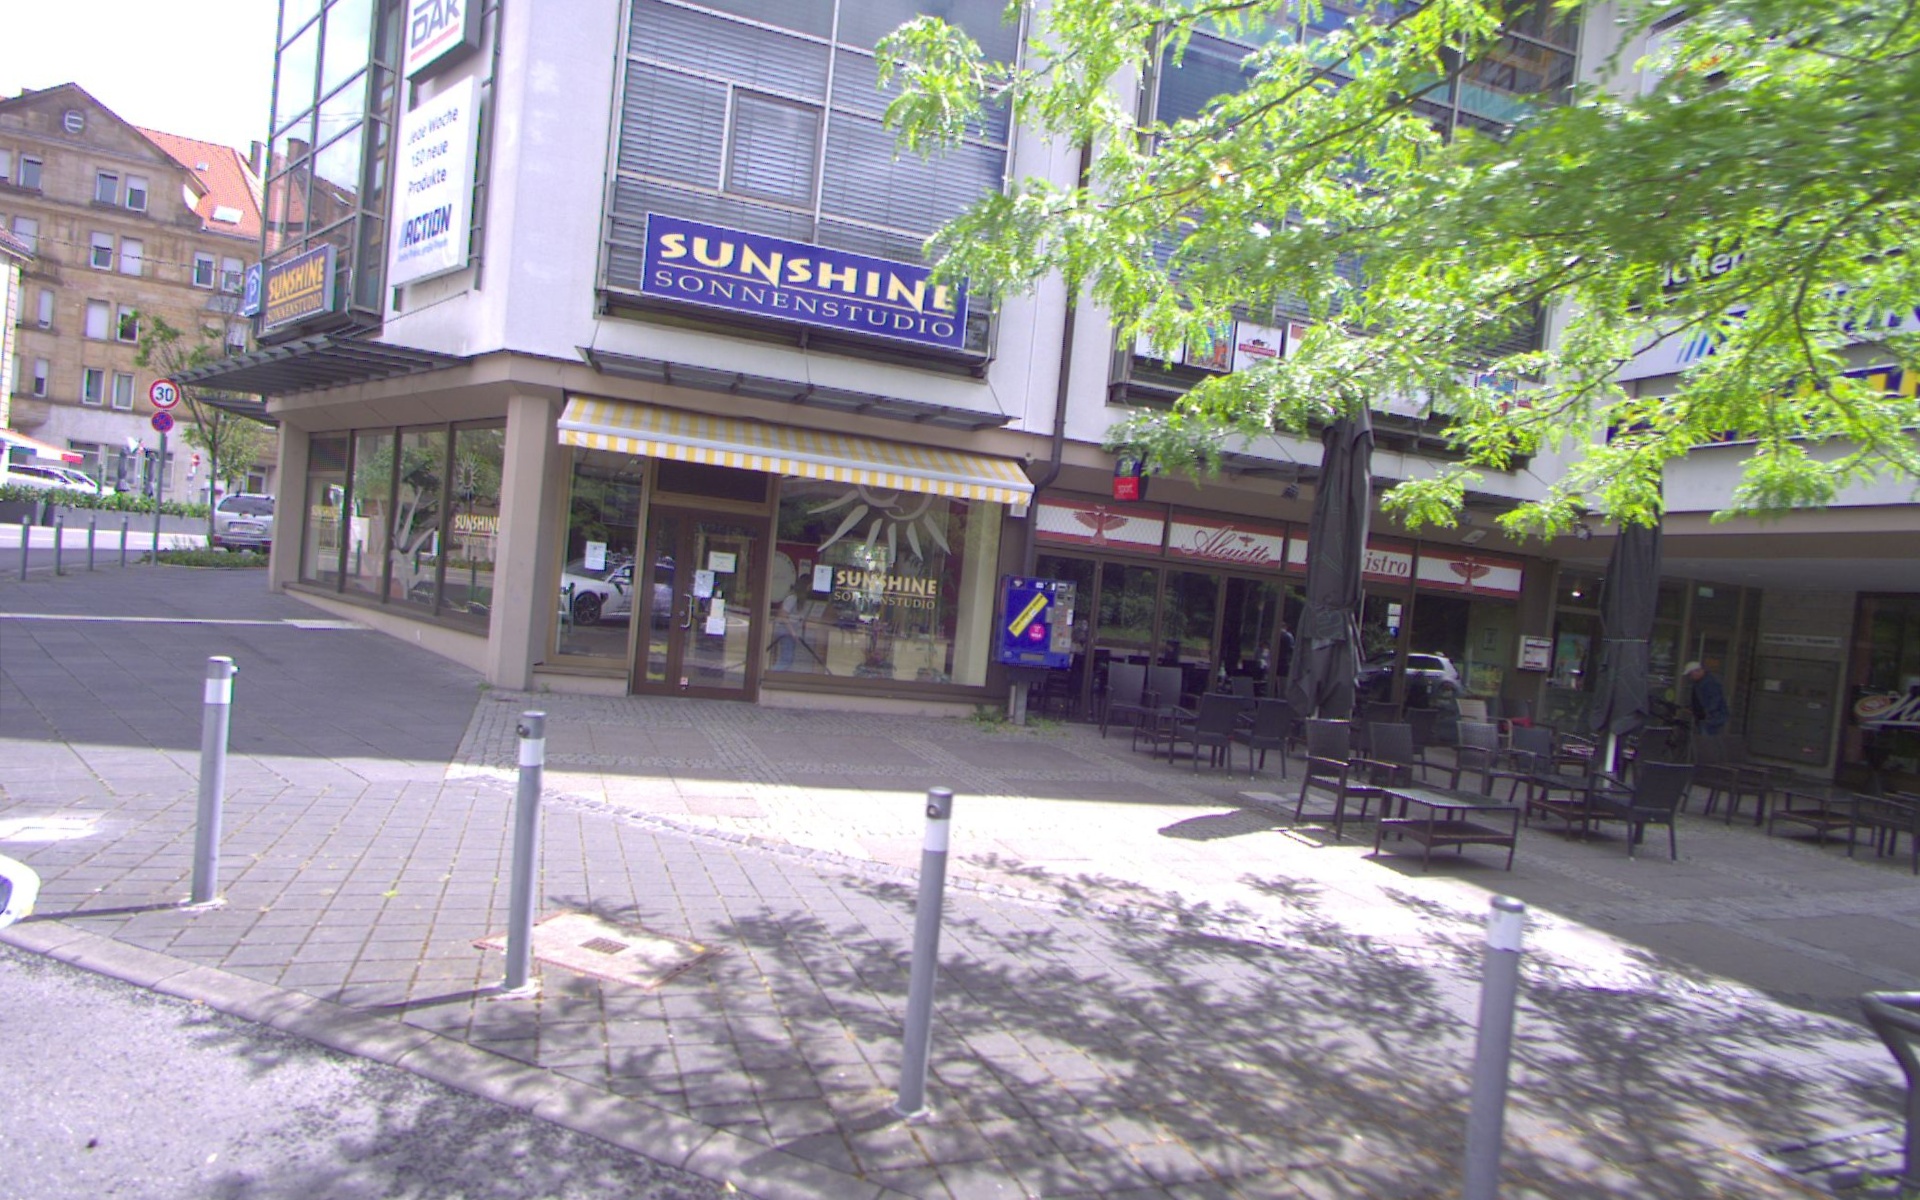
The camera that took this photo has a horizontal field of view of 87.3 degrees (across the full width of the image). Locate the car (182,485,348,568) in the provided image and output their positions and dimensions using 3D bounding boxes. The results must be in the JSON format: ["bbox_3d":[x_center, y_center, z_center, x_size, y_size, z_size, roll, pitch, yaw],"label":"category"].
[{"bbox_3d":[-17.480,-1.773,25.564,1.799,1.753,4.223,5,1,-11],"label":"car"}]

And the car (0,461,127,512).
[{"bbox_3d":[-41.794,-5.246,46.982,3.942,1.683,1.900,7,1,-19],"label":"car"}]

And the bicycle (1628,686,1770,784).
[{"bbox_3d":[11.138,2.018,15.210,1.514,1.182,0.496,8,1,19],"label":"bicycle"}]

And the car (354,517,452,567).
[{"bbox_3d":[-20.186,-2.057,36.649,1.799,1.539,4.223,5,1,-11],"label":"car"}]

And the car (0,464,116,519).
[{"bbox_3d":[-38.529,-4.595,42.203,4.383,1.798,1.984,6,1,-30],"label":"car"}]

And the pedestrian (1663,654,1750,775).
[{"bbox_3d":[11.287,1.727,15.215,0.689,1.696,0.613,6,2,-25],"label":"pedestrian"}]
